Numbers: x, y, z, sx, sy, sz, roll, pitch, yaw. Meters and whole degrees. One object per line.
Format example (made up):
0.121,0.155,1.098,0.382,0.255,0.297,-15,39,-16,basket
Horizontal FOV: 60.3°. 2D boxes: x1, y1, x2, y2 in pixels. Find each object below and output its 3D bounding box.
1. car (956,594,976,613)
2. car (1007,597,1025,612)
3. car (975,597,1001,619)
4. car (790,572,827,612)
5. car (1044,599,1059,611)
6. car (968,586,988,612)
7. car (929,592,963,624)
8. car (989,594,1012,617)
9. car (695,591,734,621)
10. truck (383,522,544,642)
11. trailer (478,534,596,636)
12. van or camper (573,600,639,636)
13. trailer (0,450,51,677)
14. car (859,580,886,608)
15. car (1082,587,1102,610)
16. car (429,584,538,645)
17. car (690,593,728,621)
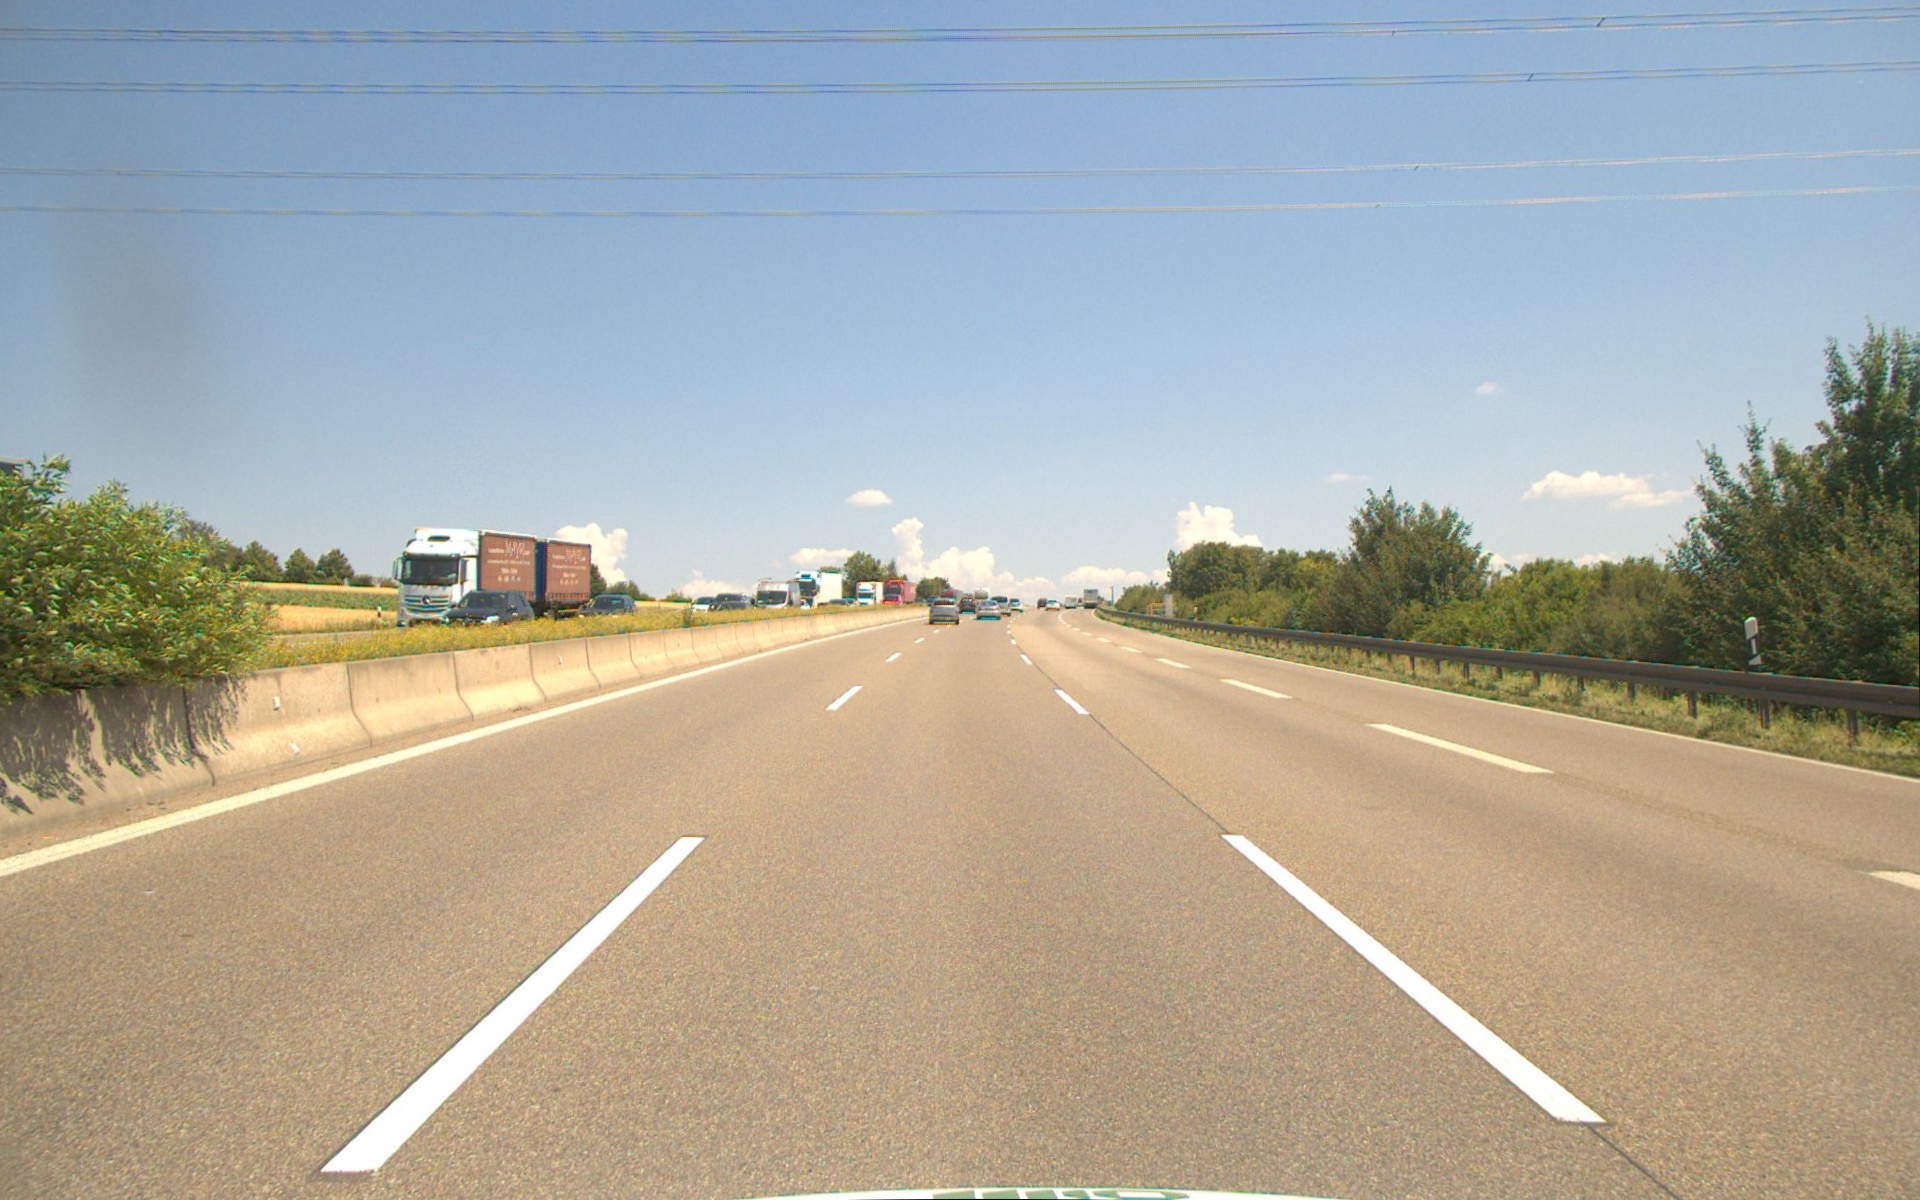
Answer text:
0.625,0.377,169.990,1.809,1.893,4.207,1,1,2,car
6.398,0.473,188.707,1.952,1.579,4.002,2,0,3,car
2.125,0.597,126.563,1.952,1.613,4.000,0,-1,0,car
-15.001,-0.785,164.468,2.489,3.899,8.183,1,0,3,car
11.812,0.599,212.890,1.862,1.467,4.002,1,0,4,car
1.995,-0.116,183.845,2.134,2.671,4.672,1,-3,2,car
-0.853,0.492,101.104,1.953,1.781,3.998,1,-3,-1,car
3.738,0.499,150.936,1.952,1.937,4.001,1,-3,3,car
-14.551,0.361,98.316,1.701,1.699,4.000,1,0,0,car
-19.051,-0.645,64.325,2.828,4.244,10.623,1,0,1,truck
-18.828,-0.638,74.210,2.719,4.256,9.178,1,0,1,trailer
-14.879,0.742,69.736,1.953,1.478,4.000,1,0,0,van or camper
-19.088,-0.711,25.023,2.736,4.177,14.007,1,0,1,trailer
-10.905,-0.752,206.243,2.489,3.439,8.182,1,0,3,car
14.065,-0.183,175.967,1.952,2.341,6.266,1,0,3,car
-15.112,0.423,52.746,1.953,1.823,5.213,1,0,0,car
-17.462,0.507,115.188,1.953,1.881,4.000,1,0,0,car
